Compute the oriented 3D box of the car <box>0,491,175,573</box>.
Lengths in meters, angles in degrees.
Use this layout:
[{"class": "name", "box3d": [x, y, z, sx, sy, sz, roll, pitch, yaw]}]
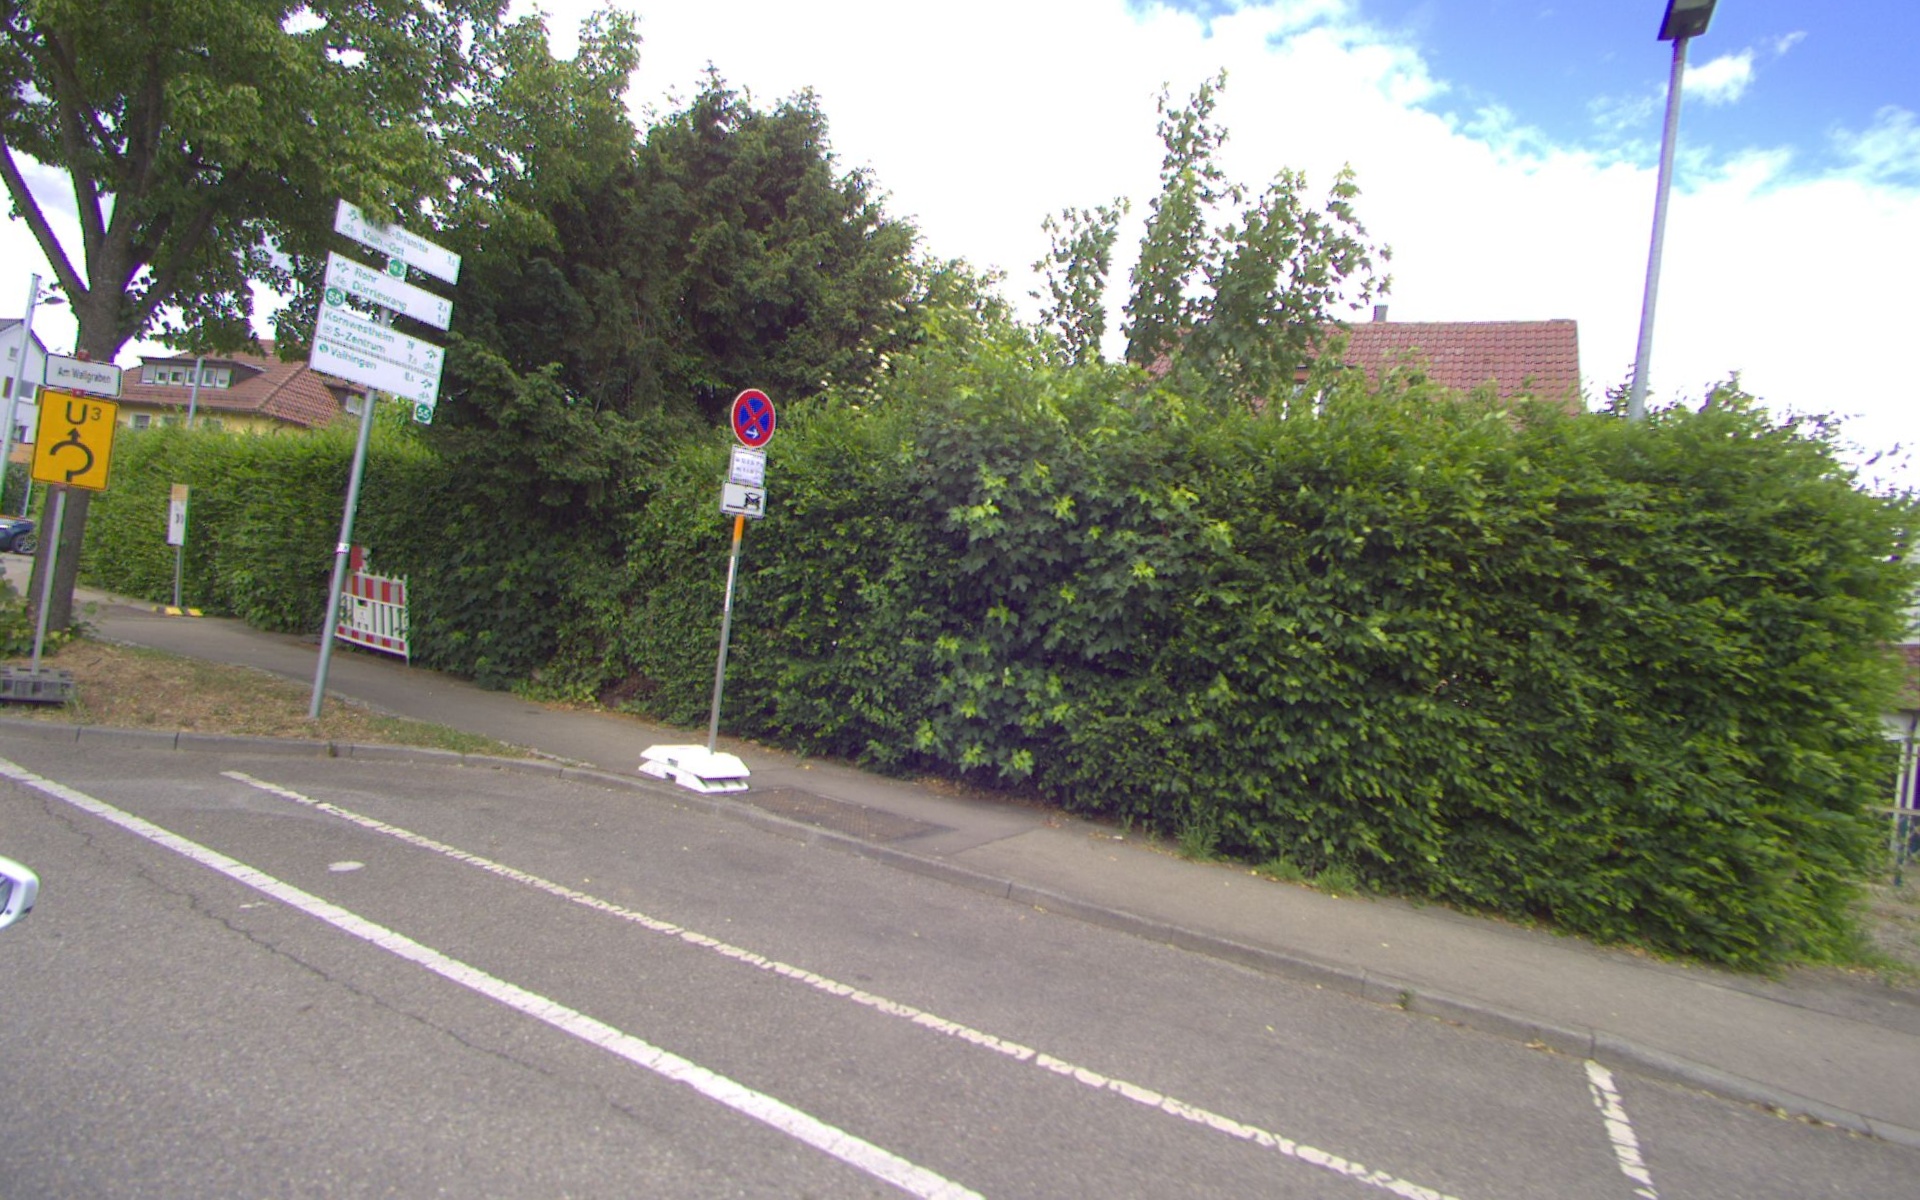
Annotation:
[{"class": "car", "box3d": [-26.285, -2.009, 29.733, 1.622, 1.679, 4.412, 7, -3, 29]}]
